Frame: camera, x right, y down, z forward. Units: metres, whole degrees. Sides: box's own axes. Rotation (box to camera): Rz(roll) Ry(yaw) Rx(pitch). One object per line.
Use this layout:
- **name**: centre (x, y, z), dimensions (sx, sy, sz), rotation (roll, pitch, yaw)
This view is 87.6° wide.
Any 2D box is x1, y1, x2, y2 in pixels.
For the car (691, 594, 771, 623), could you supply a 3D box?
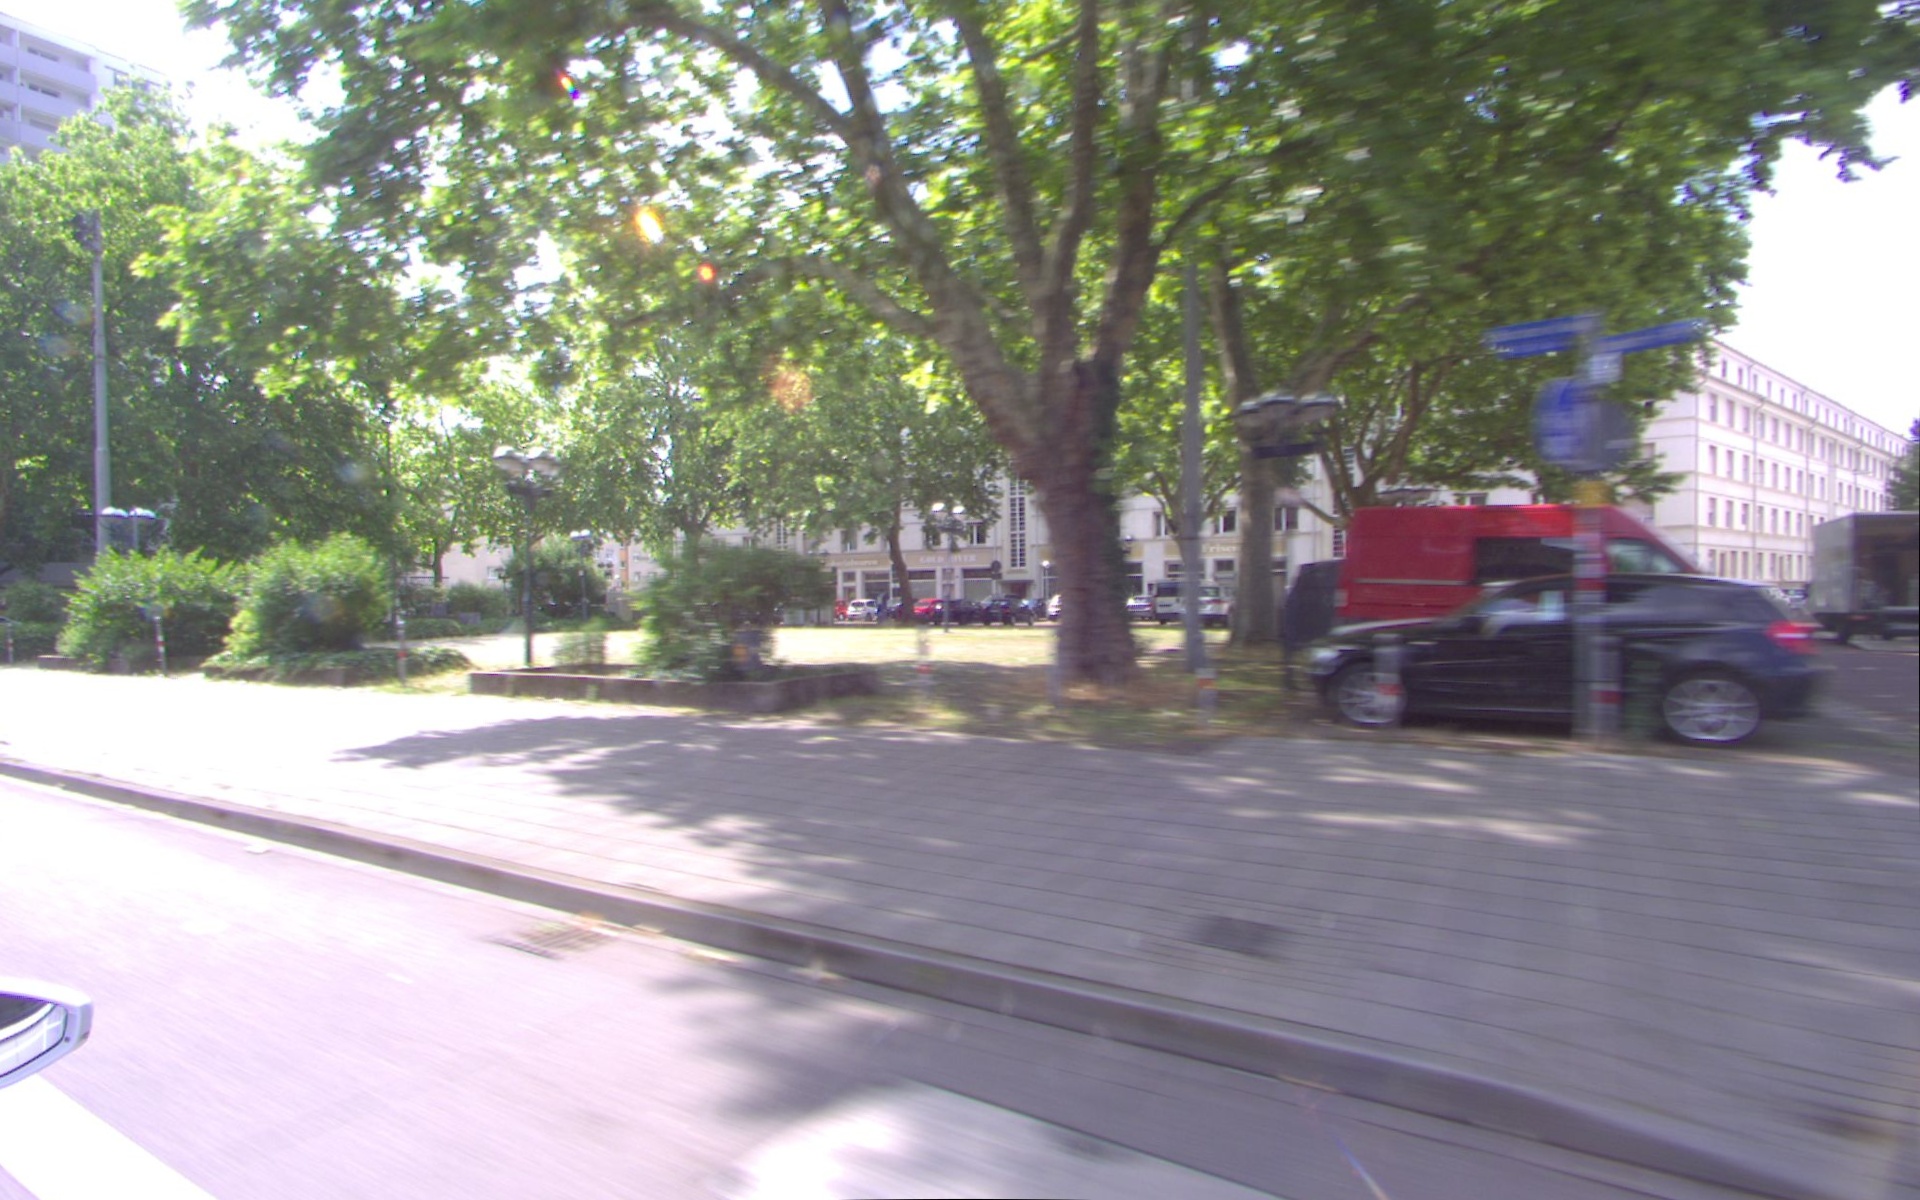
- **car**: centre (-14.282, 0.519, 62.775), dimensions (2.161, 1.729, 4.668), rotation (0, 1, 34)

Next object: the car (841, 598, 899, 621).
- **car**: centre (-6.347, 0.626, 71.122), dimensions (1.957, 1.542, 4.245), rotation (0, 1, 32)

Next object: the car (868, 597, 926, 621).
- **car**: centre (-4.335, 0.621, 69.352), dimensions (1.957, 1.542, 4.245), rotation (0, 1, 32)

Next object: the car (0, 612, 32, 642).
- **car**: centre (-46.765, 1.305, 47.081), dimensions (1.674, 1.409, 4.493), rotation (-1, 0, 8)

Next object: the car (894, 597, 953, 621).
- **car**: centre (-2.423, 0.608, 67.803), dimensions (1.957, 1.542, 4.245), rotation (0, 1, 32)

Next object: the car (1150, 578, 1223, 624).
- **car**: centre (10.666, 0.026, 46.952), dimensions (2.047, 2.041, 4.245), rotation (0, 1, 32)

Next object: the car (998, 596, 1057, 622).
- **car**: centre (4.302, 0.530, 63.405), dimensions (1.957, 1.542, 4.245), rotation (0, 1, 32)

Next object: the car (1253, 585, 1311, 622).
- **car**: centre (17.914, 0.160, 55.610), dimensions (2.008, 1.956, 4.671), rotation (0, 1, 32)

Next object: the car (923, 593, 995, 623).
- **car**: centre (-0.009, 0.415, 53.908), dimensions (1.957, 1.542, 4.245), rotation (0, 1, 32)

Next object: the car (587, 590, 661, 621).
- **car**: centre (-22.653, 0.352, 67.632), dimensions (2.048, 2.041, 4.403), rotation (0, 1, 33)

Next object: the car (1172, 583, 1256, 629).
- **car**: centre (9.706, 0.194, 38.061), dimensions (1.971, 1.658, 4.143), rotation (0, 1, 32)

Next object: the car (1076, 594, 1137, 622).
- **car**: centre (8.917, 0.457, 60.525), dimensions (1.957, 1.570, 4.671), rotation (0, 1, 32)

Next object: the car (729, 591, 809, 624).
- **car**: centre (-11.728, 0.420, 61.722), dimensions (2.161, 1.956, 4.668), rotation (0, 1, 34)

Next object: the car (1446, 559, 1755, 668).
- **car**: centre (11.654, 0.244, 18.522), dimensions (4.587, 1.777, 2.002), rotation (0, 0, 34)

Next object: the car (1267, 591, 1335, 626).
- **car**: centre (14.946, 0.336, 43.789), dimensions (1.931, 1.440, 4.156), rotation (0, 1, 32)

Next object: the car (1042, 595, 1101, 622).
- **car**: centre (6.944, 0.495, 61.944), dimensions (1.957, 1.570, 4.415), rotation (0, 1, 32)

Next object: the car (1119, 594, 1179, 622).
- **car**: centre (11.274, 0.446, 59.578), dimensions (1.957, 1.570, 4.671), rotation (0, 1, 32)

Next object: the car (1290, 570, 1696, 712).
- **car**: centre (6.114, 0.420, 11.860), dimensions (3.980, 1.449, 1.647), rotation (0, 1, 29)

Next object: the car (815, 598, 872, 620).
- **car**: centre (-8.447, 0.644, 72.897), dimensions (1.957, 1.542, 4.245), rotation (0, 1, 32)

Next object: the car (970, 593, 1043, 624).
- **car**: centre (2.482, 0.408, 52.418), dimensions (1.957, 1.542, 4.245), rotation (0, 1, 32)

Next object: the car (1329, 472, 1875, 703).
- **car**: centre (8.431, -0.140, 13.854), dimensions (5.935, 2.617, 2.106), rotation (0, 1, 34)

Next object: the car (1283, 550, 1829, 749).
- **car**: centre (5.206, 0.372, 9.237), dimensions (3.983, 1.490, 1.645), rotation (0, 1, 31)

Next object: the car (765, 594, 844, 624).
- **car**: centre (-9.388, 0.516, 60.919), dimensions (2.161, 1.729, 4.668), rotation (0, 1, 34)
